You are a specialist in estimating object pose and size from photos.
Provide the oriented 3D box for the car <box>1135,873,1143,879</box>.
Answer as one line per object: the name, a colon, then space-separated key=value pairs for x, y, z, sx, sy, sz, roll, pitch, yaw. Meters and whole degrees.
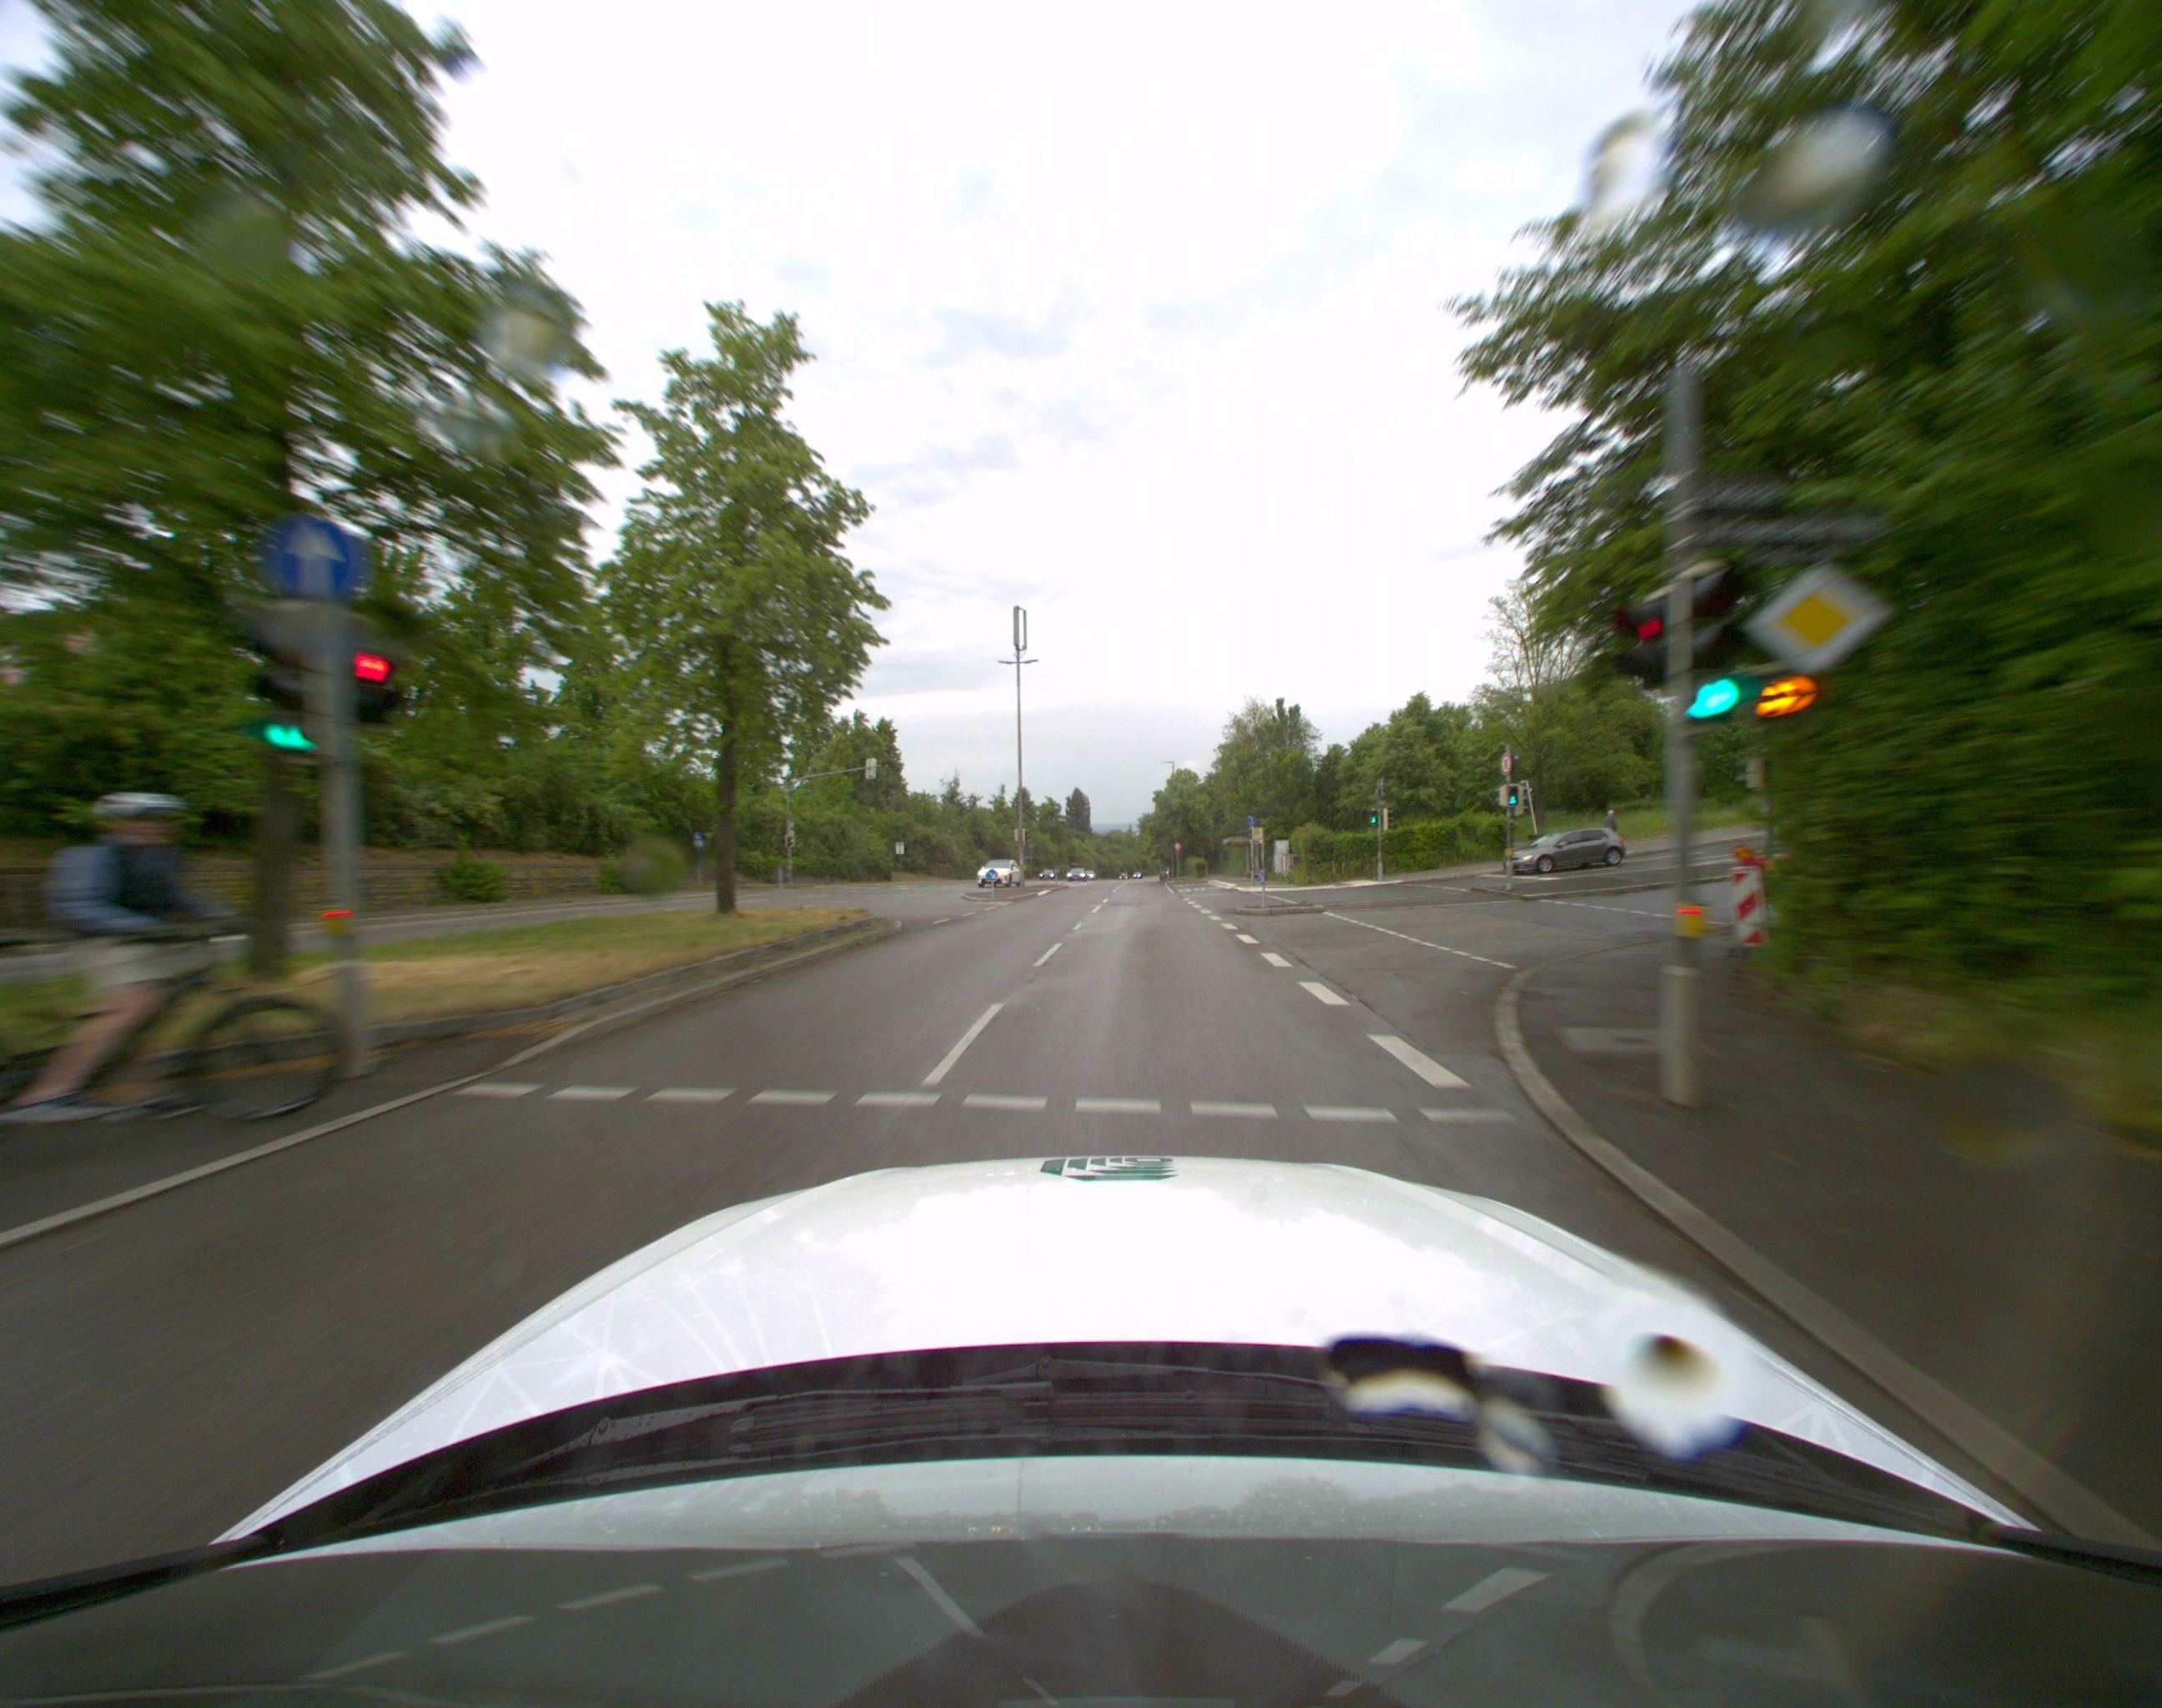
car: x=14.771 y=5.618 z=207.650 sx=1.854 sy=1.590 sz=3.900 roll=2 pitch=-2 yaw=8

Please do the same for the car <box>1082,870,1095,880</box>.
car: x=1.206 y=3.492 z=134.790 sx=1.715 sy=1.591 sz=4.008 roll=-1 pitch=0 yaw=7

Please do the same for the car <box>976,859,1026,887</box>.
car: x=-4.904 y=1.177 z=50.782 sx=1.934 sy=1.636 sz=5.016 roll=-1 pitch=-1 yaw=8

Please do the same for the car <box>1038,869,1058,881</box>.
car: x=-4.213 y=2.691 z=103.489 sx=1.810 sy=1.438 sz=4.463 roll=-1 pitch=-1 yaw=7

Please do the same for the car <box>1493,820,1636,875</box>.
car: x=17.706 y=-0.206 z=29.915 sx=4.068 sy=1.453 sz=1.887 roll=-7 pitch=-1 yaw=-5

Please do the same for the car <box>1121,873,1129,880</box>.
car: x=10.018 y=5.049 z=185.036 sx=1.716 sy=1.566 sz=3.898 roll=2 pitch=-1 yaw=5

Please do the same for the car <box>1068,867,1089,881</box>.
car: x=-0.233 y=2.205 z=88.696 sx=1.769 sy=1.472 sz=4.652 roll=0 pitch=-1 yaw=6

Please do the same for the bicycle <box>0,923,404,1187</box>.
bicycle: x=-5.163 y=1.037 z=4.469 sx=0.547 sy=1.143 sz=2.154 roll=-1 pitch=0 yaw=37

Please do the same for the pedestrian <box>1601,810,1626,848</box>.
pedestrian: x=22.608 y=-1.071 z=34.556 sx=0.475 sy=1.583 sz=0.684 roll=-2 pitch=0 yaw=-28

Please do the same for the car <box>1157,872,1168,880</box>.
car: x=17.743 y=4.860 z=177.301 sx=1.932 sy=1.591 sz=3.939 roll=-1 pitch=0 yaw=11

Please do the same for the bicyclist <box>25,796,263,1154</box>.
bicyclist: x=-5.203 y=0.609 z=4.539 sx=0.716 sy=1.752 sz=0.806 roll=-4 pitch=-3 yaw=37
